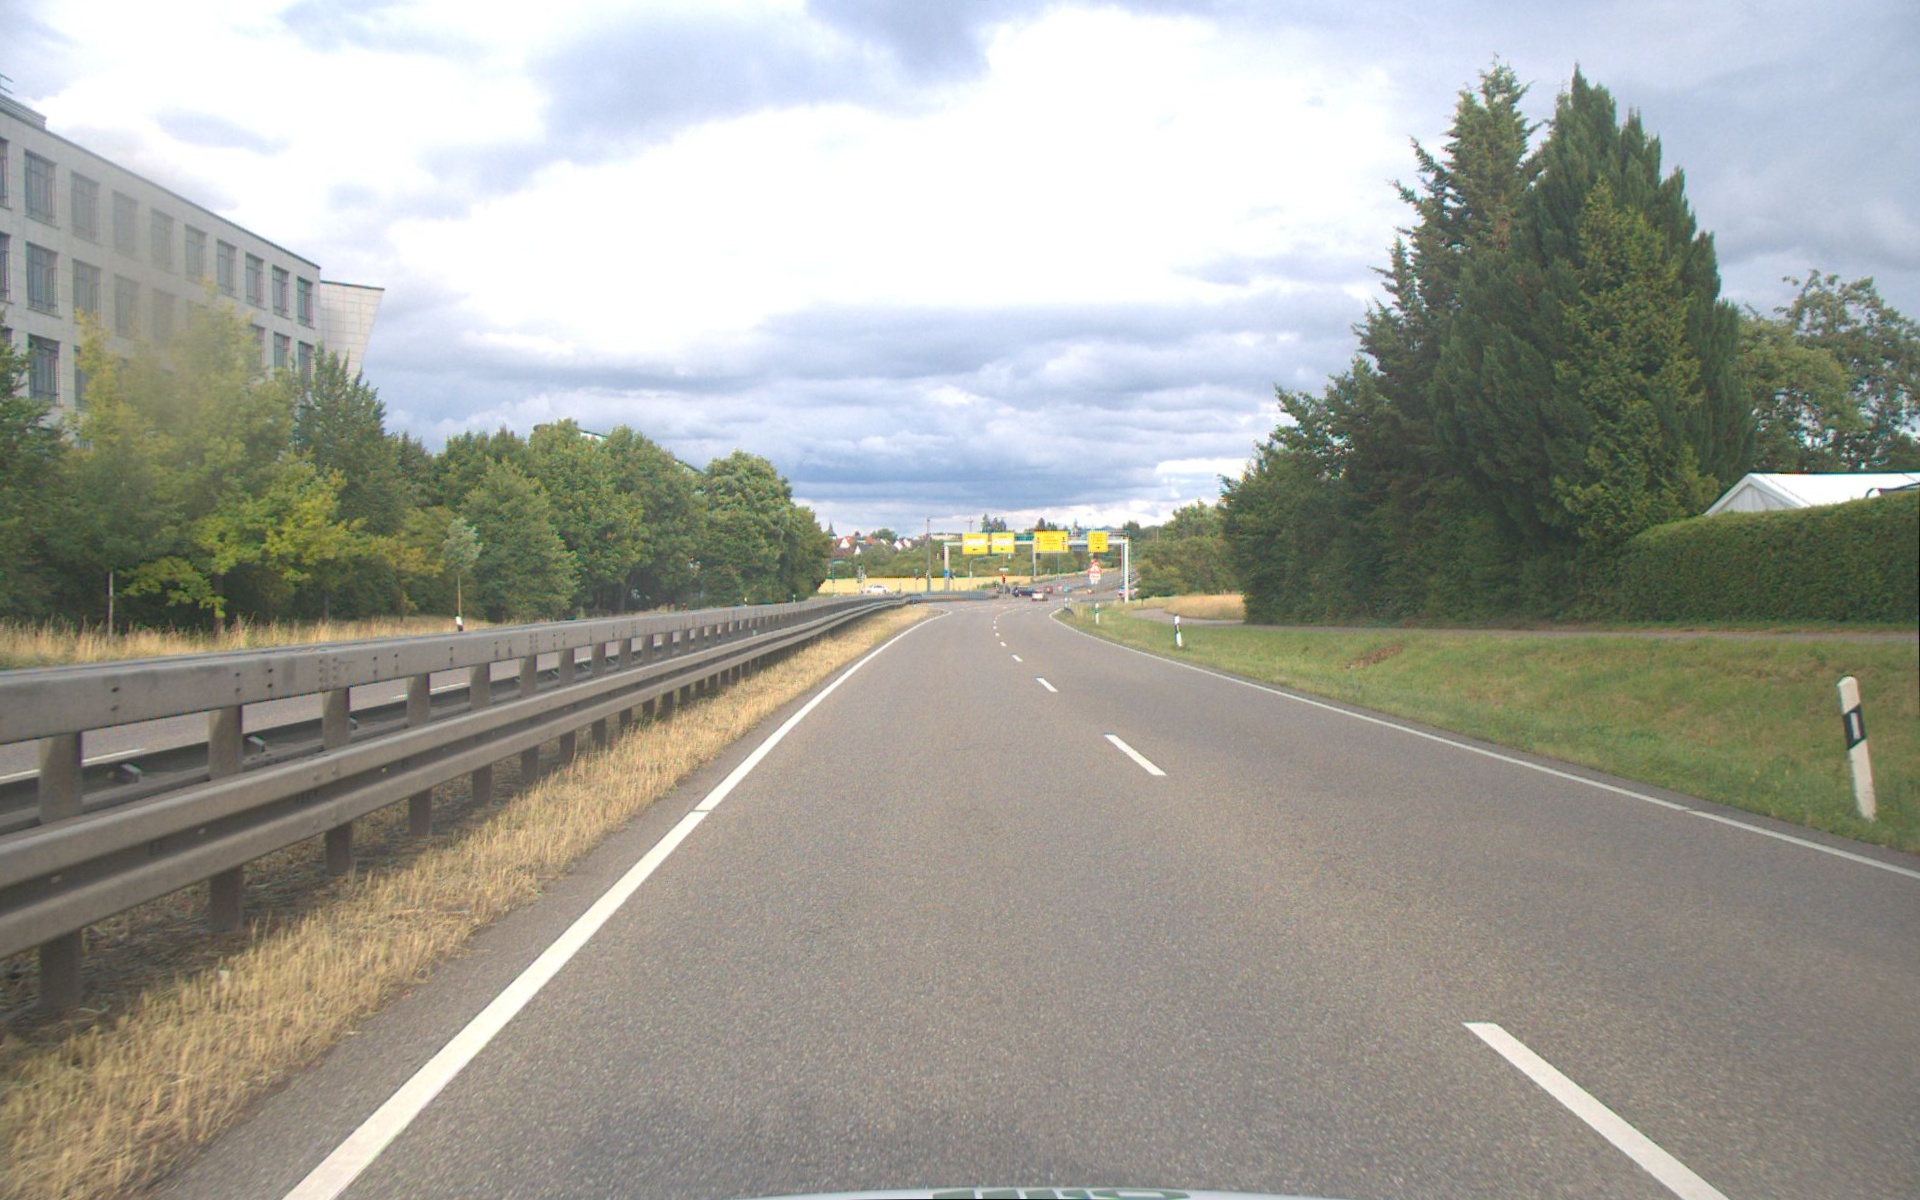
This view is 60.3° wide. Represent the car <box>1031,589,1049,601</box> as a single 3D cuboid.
[{"bbox_3d":[10.837,-0.733,223.547,1.759,1.583,4.003,0,0,13],"label":"car"}]
